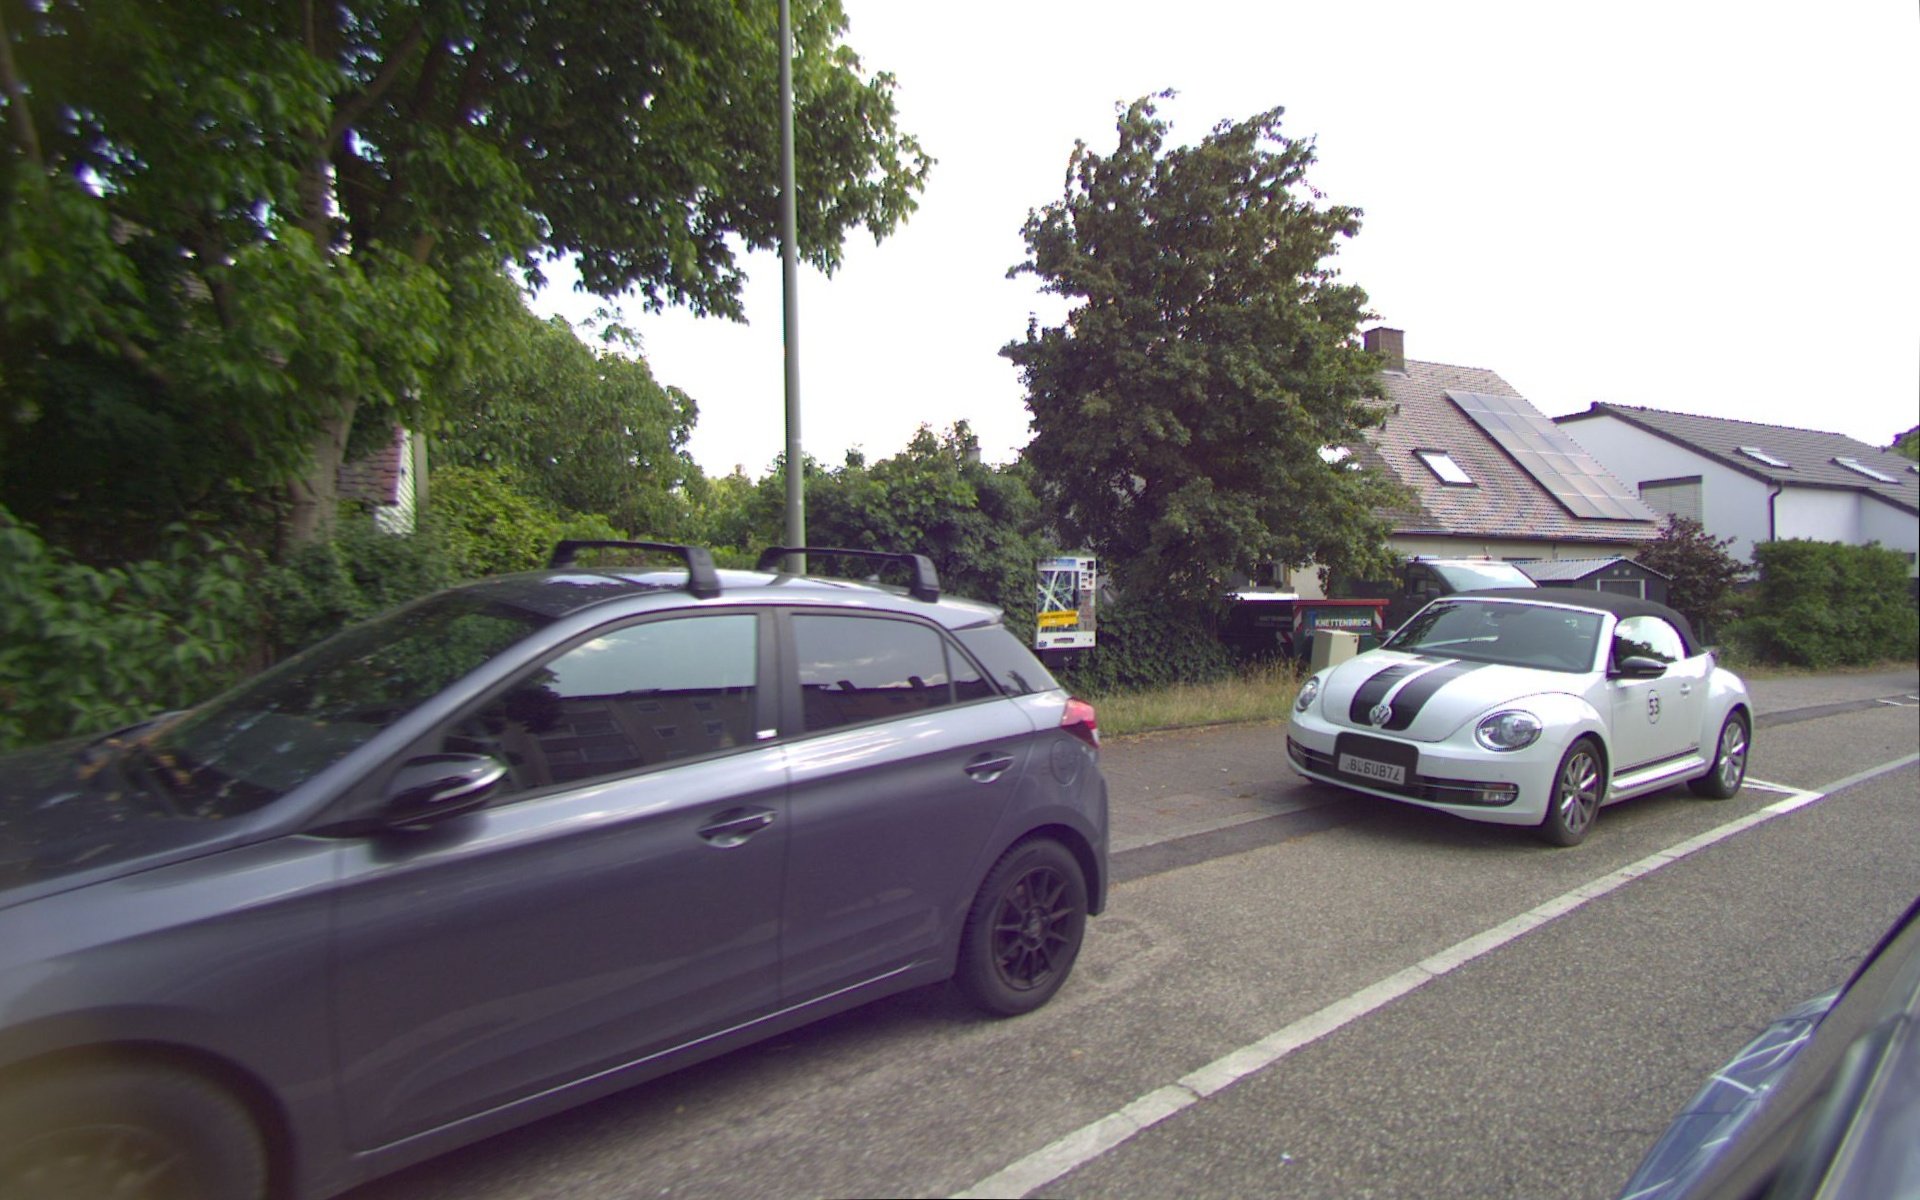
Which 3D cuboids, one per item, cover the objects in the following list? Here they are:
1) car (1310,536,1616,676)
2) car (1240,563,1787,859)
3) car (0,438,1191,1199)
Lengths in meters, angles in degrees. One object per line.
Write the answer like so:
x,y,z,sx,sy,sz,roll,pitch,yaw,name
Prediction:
8.518,0.104,17.892,1.958,2.083,5.366,0,-1,-11,car
4.118,0.577,7.247,4.374,1.532,1.745,0,0,-36,car
-1.174,0.540,3.176,4.054,1.605,1.719,0,0,-43,car
